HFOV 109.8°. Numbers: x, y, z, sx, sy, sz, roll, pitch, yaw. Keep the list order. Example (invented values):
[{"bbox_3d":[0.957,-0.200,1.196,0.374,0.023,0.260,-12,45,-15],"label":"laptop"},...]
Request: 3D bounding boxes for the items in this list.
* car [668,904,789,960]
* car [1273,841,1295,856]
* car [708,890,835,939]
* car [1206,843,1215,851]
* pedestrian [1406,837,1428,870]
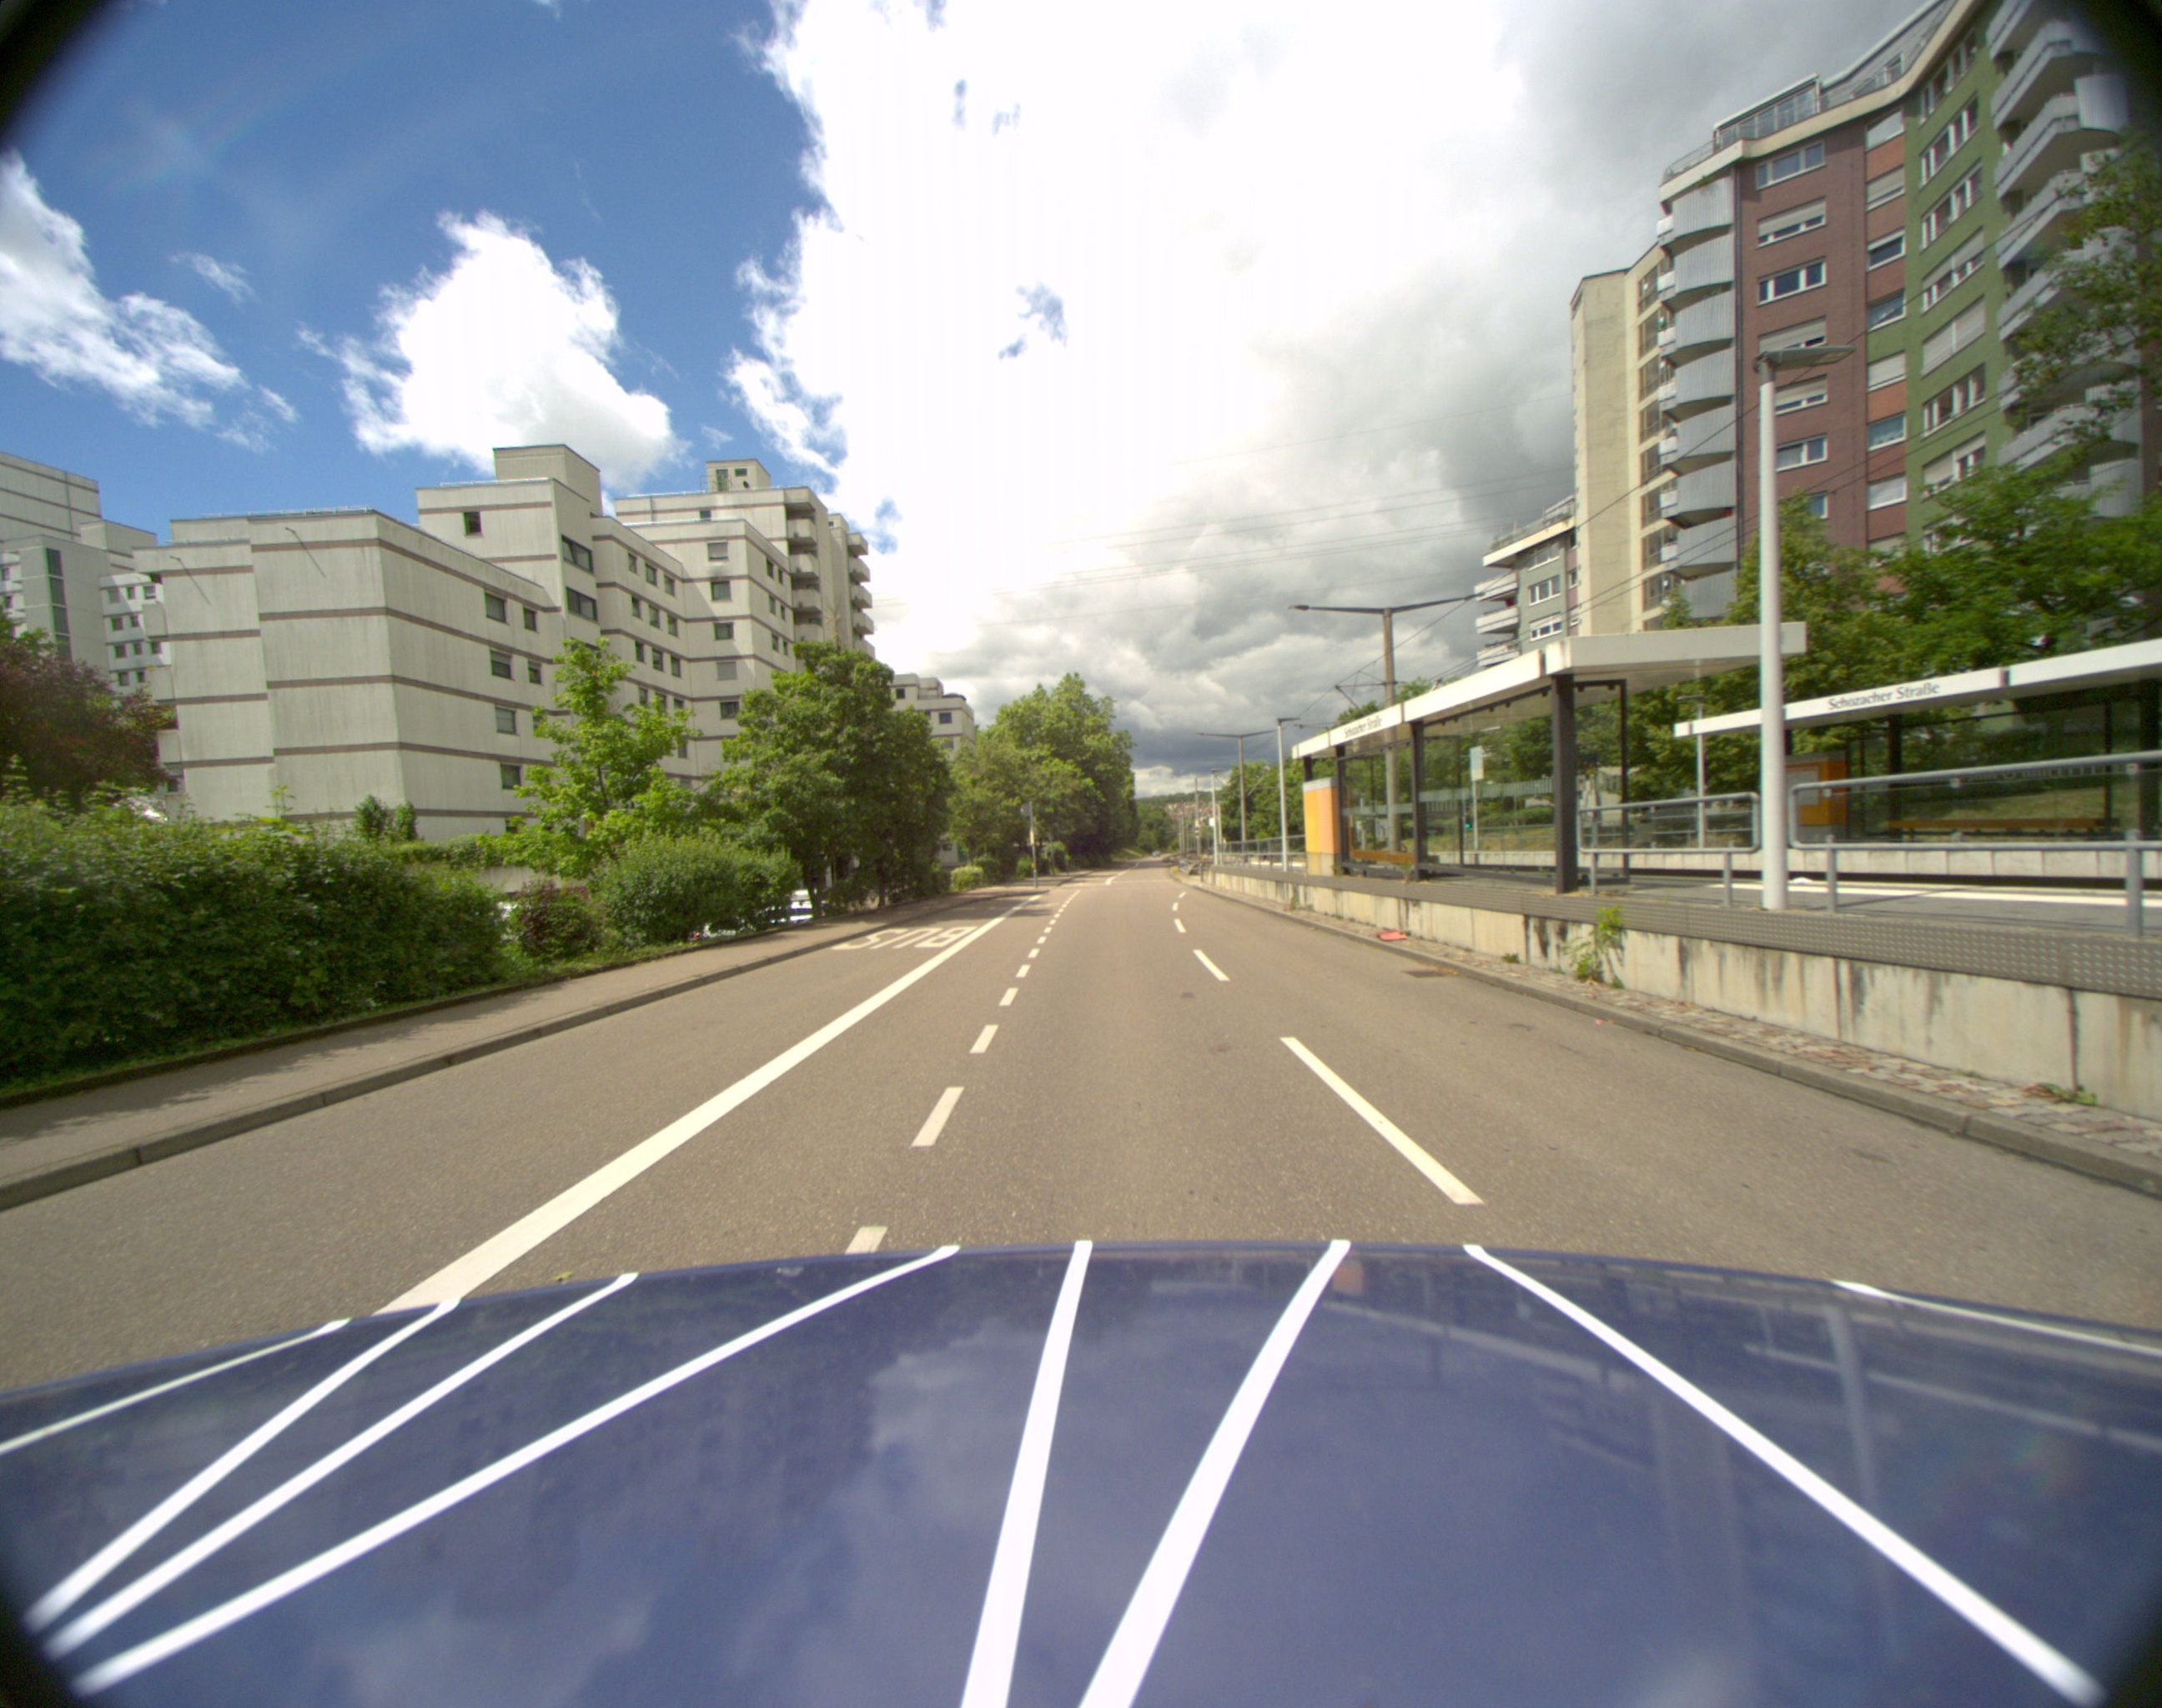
[{"bbox_3d":[-11.196,2.458,24.240,2.963,1.461,1.724,-3,1,4],"label":"car"},{"bbox_3d":[22.278,-0.601,83.472,1.658,1.503,3.738,-2,0,4],"label":"car"},{"bbox_3d":[-10.893,2.123,26.872,3.761,1.424,1.564,-3,2,4],"label":"car"},{"bbox_3d":[28.585,-1.544,167.864,1.658,1.503,3.738,-2,0,4],"label":"car"},{"bbox_3d":[16.616,-0.025,37.563,0.690,1.554,0.824,-3,1,2],"label":"pedestrian"}]
